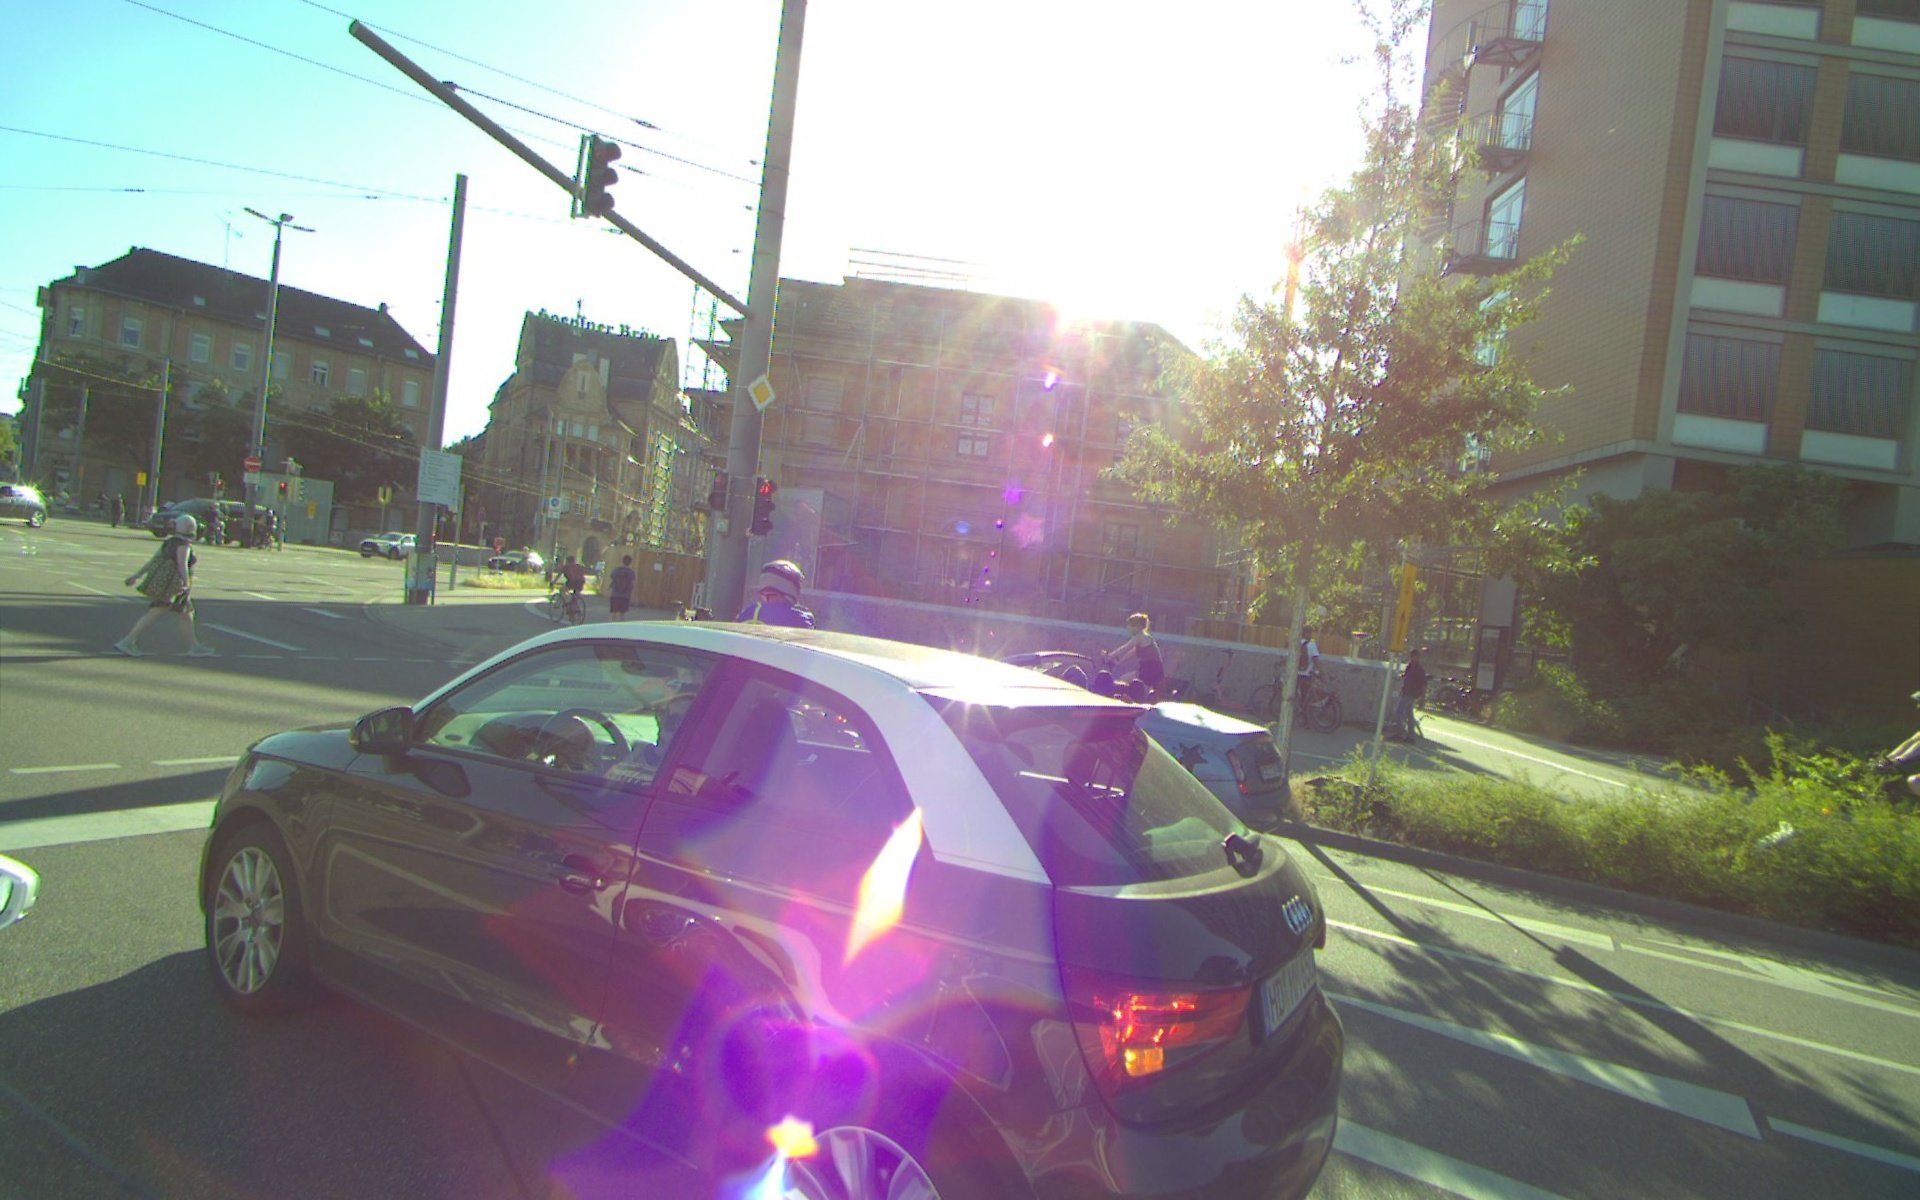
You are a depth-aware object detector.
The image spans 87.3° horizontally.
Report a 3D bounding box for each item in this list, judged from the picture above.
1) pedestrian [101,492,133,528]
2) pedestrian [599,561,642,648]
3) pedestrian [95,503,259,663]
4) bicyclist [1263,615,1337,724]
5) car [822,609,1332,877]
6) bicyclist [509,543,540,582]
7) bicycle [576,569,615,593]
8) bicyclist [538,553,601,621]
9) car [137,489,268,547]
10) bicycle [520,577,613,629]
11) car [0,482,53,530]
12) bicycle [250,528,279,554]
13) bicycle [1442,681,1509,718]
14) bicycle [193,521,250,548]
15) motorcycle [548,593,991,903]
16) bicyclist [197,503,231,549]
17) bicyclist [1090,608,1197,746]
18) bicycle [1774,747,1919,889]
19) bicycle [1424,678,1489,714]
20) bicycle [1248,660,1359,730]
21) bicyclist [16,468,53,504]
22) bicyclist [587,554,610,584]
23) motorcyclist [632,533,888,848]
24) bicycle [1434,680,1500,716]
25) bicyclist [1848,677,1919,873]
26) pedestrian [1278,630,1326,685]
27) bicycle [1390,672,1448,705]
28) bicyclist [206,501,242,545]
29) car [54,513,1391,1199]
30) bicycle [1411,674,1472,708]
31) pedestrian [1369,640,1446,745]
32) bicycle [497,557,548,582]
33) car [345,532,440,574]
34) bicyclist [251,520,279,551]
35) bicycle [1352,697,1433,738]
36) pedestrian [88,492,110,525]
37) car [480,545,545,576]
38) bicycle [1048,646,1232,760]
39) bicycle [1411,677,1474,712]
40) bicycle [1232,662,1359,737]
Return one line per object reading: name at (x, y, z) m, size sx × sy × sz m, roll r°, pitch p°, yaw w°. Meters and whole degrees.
pedestrian at (-43.131, -4.599, 51.475) m, size 0.770 × 1.697 × 0.925 m, roll 7°, pitch 1°, yaw 31°
pedestrian at (-6.949, 0.083, 20.596) m, size 0.688 × 1.694 × 0.825 m, roll 5°, pitch 2°, yaw -20°
pedestrian at (-8.719, -0.161, 11.243) m, size 0.686 × 1.626 × 1.096 m, roll 9°, pitch 1°, yaw 21°
bicyclist at (6.071, 1.231, 17.966) m, size 0.881 × 1.810 × 0.785 m, roll 7°, pitch 2°, yaw 40°
car at (0.937, 1.087, 8.794) m, size 3.914 × 1.461 × 1.803 m, roll 7°, pitch -1°, yaw 34°
bicyclist at (-20.454, -1.758, 47.274) m, size 0.844 × 1.711 × 0.748 m, roll 9°, pitch 1°, yaw 11°
bicycle at (-22.045, -1.137, 60.908) m, size 0.844 × 1.147 × 2.503 m, roll 9°, pitch 0°, yaw 14°
bicyclist at (-8.926, -0.298, 22.984) m, size 1.058 × 1.401 × 0.721 m, roll 5°, pitch -1°, yaw 32°
car at (-33.758, -3.604, 45.032) m, size 1.917 × 1.917 × 4.850 m, roll 7°, pitch 0°, yaw 2°
bicycle at (-9.010, 0.055, 23.012) m, size 2.212 × 0.964 × 0.721 m, roll 5°, pitch -1°, yaw 32°
car at (-33.387, -3.350, 34.048) m, size 1.920 × 1.504 × 4.097 m, roll 7°, pitch 0°, yaw -8°
bicycle at (-30.575, -2.589, 44.210) m, size 0.854 × 0.916 × 2.278 m, roll 8°, pitch 0°, yaw -38°
bicycle at (15.312, 2.945, 29.874) m, size 1.623 × 0.868 × 0.529 m, roll 7°, pitch 1°, yaw 1°
bicycle at (-31.273, -2.757, 42.651) m, size 0.846 × 0.916 × 2.300 m, roll 9°, pitch 0°, yaw -8°
motorcycle at (-1.265, 0.809, 6.397) m, size 2.610 × 1.394 × 1.097 m, roll 6°, pitch -1°, yaw 33°
bicyclist at (-31.150, -3.075, 42.013) m, size 0.852 × 1.800 × 0.583 m, roll 6°, pitch 1°, yaw -8°
bicyclist at (2.509, 1.013, 13.732) m, size 1.074 × 1.700 × 0.778 m, roll 7°, pitch 4°, yaw 30°
bicycle at (9.682, 2.259, 9.993) m, size 2.250 × 1.170 × 0.779 m, roll 7°, pitch 1°, yaw 26°
bicycle at (15.298, 2.962, 31.017) m, size 1.623 × 0.868 × 0.529 m, roll 7°, pitch 1°, yaw 1°
bicycle at (6.423, 1.762, 18.924) m, size 0.621 × 1.052 × 1.946 m, roll 4°, pitch 2°, yaw -32°
bicyclist at (-46.769, -5.744, 50.829) m, size 0.844 × 1.578 × 0.927 m, roll 9°, pitch 1°, yaw 9°
bicyclist at (-21.917, -1.869, 60.982) m, size 0.844 × 1.711 × 0.651 m, roll 9°, pitch 1°, yaw 14°
motorcyclist at (-1.244, 0.544, 6.405) m, size 0.921 × 1.742 × 1.097 m, roll 7°, pitch 0°, yaw 33°
bicycle at (15.321, 2.962, 30.435) m, size 1.623 × 0.868 × 0.529 m, roll 7°, pitch 1°, yaw 1°
bicyclist at (9.757, 1.765, 9.970) m, size 1.074 × 1.853 × 0.779 m, roll 7°, pitch 1°, yaw 26°
pedestrian at (13.893, 2.320, 40.897) m, size 1.281 × 2.039 × 0.990 m, roll 6°, pitch 1°, yaw -22°
bicycle at (15.499, 2.984, 34.014) m, size 1.623 × 0.868 × 0.529 m, roll 7°, pitch 1°, yaw 1°
bicyclist at (-31.197, -3.252, 42.633) m, size 0.846 × 1.711 × 0.650 m, roll 8°, pitch 1°, yaw -8°
car at (-0.882, 0.712, 3.265) m, size 3.910 × 1.461 × 1.805 m, roll 7°, pitch -1°, yaw 29°
bicycle at (15.624, 2.948, 32.640) m, size 1.623 × 0.868 × 0.529 m, roll 7°, pitch 1°, yaw 1°
pedestrian at (7.786, 1.603, 17.507) m, size 0.803 × 1.678 × 0.781 m, roll 9°, pitch -2°, yaw -42°
bicycle at (-20.507, -1.421, 47.237) m, size 0.844 × 0.885 × 2.503 m, roll 9°, pitch 0°, yaw 11°
car at (-31.980, -2.587, 56.845) m, size 1.916 × 1.821 × 4.853 m, roll 7°, pitch 0°, yaw 9°
bicyclist at (-30.477, -2.839, 44.118) m, size 0.854 × 1.191 × 0.707 m, roll 8°, pitch 1°, yaw -39°
bicycle at (8.245, 2.241, 19.239) m, size 1.332 × 0.547 × 0.430 m, roll 7°, pitch 2°, yaw 18°
pedestrian at (-47.004, -4.988, 54.914) m, size 0.547 × 1.674 × 0.640 m, roll 6°, pitch 1°, yaw -6°
car at (-30.623, -2.651, 68.995) m, size 1.915 × 1.582 × 4.360 m, roll 9°, pitch 0°, yaw 8°
bicycle at (2.437, 1.358, 13.779) m, size 2.252 × 1.172 × 0.778 m, roll 7°, pitch 3°, yaw 30°
bicycle at (15.170, 2.958, 31.644) m, size 1.623 × 0.868 × 0.529 m, roll 7°, pitch 1°, yaw 1°
bicycle at (5.991, 1.743, 18.021) m, size 1.935 × 1.052 × 0.788 m, roll 6°, pitch 2°, yaw 40°
